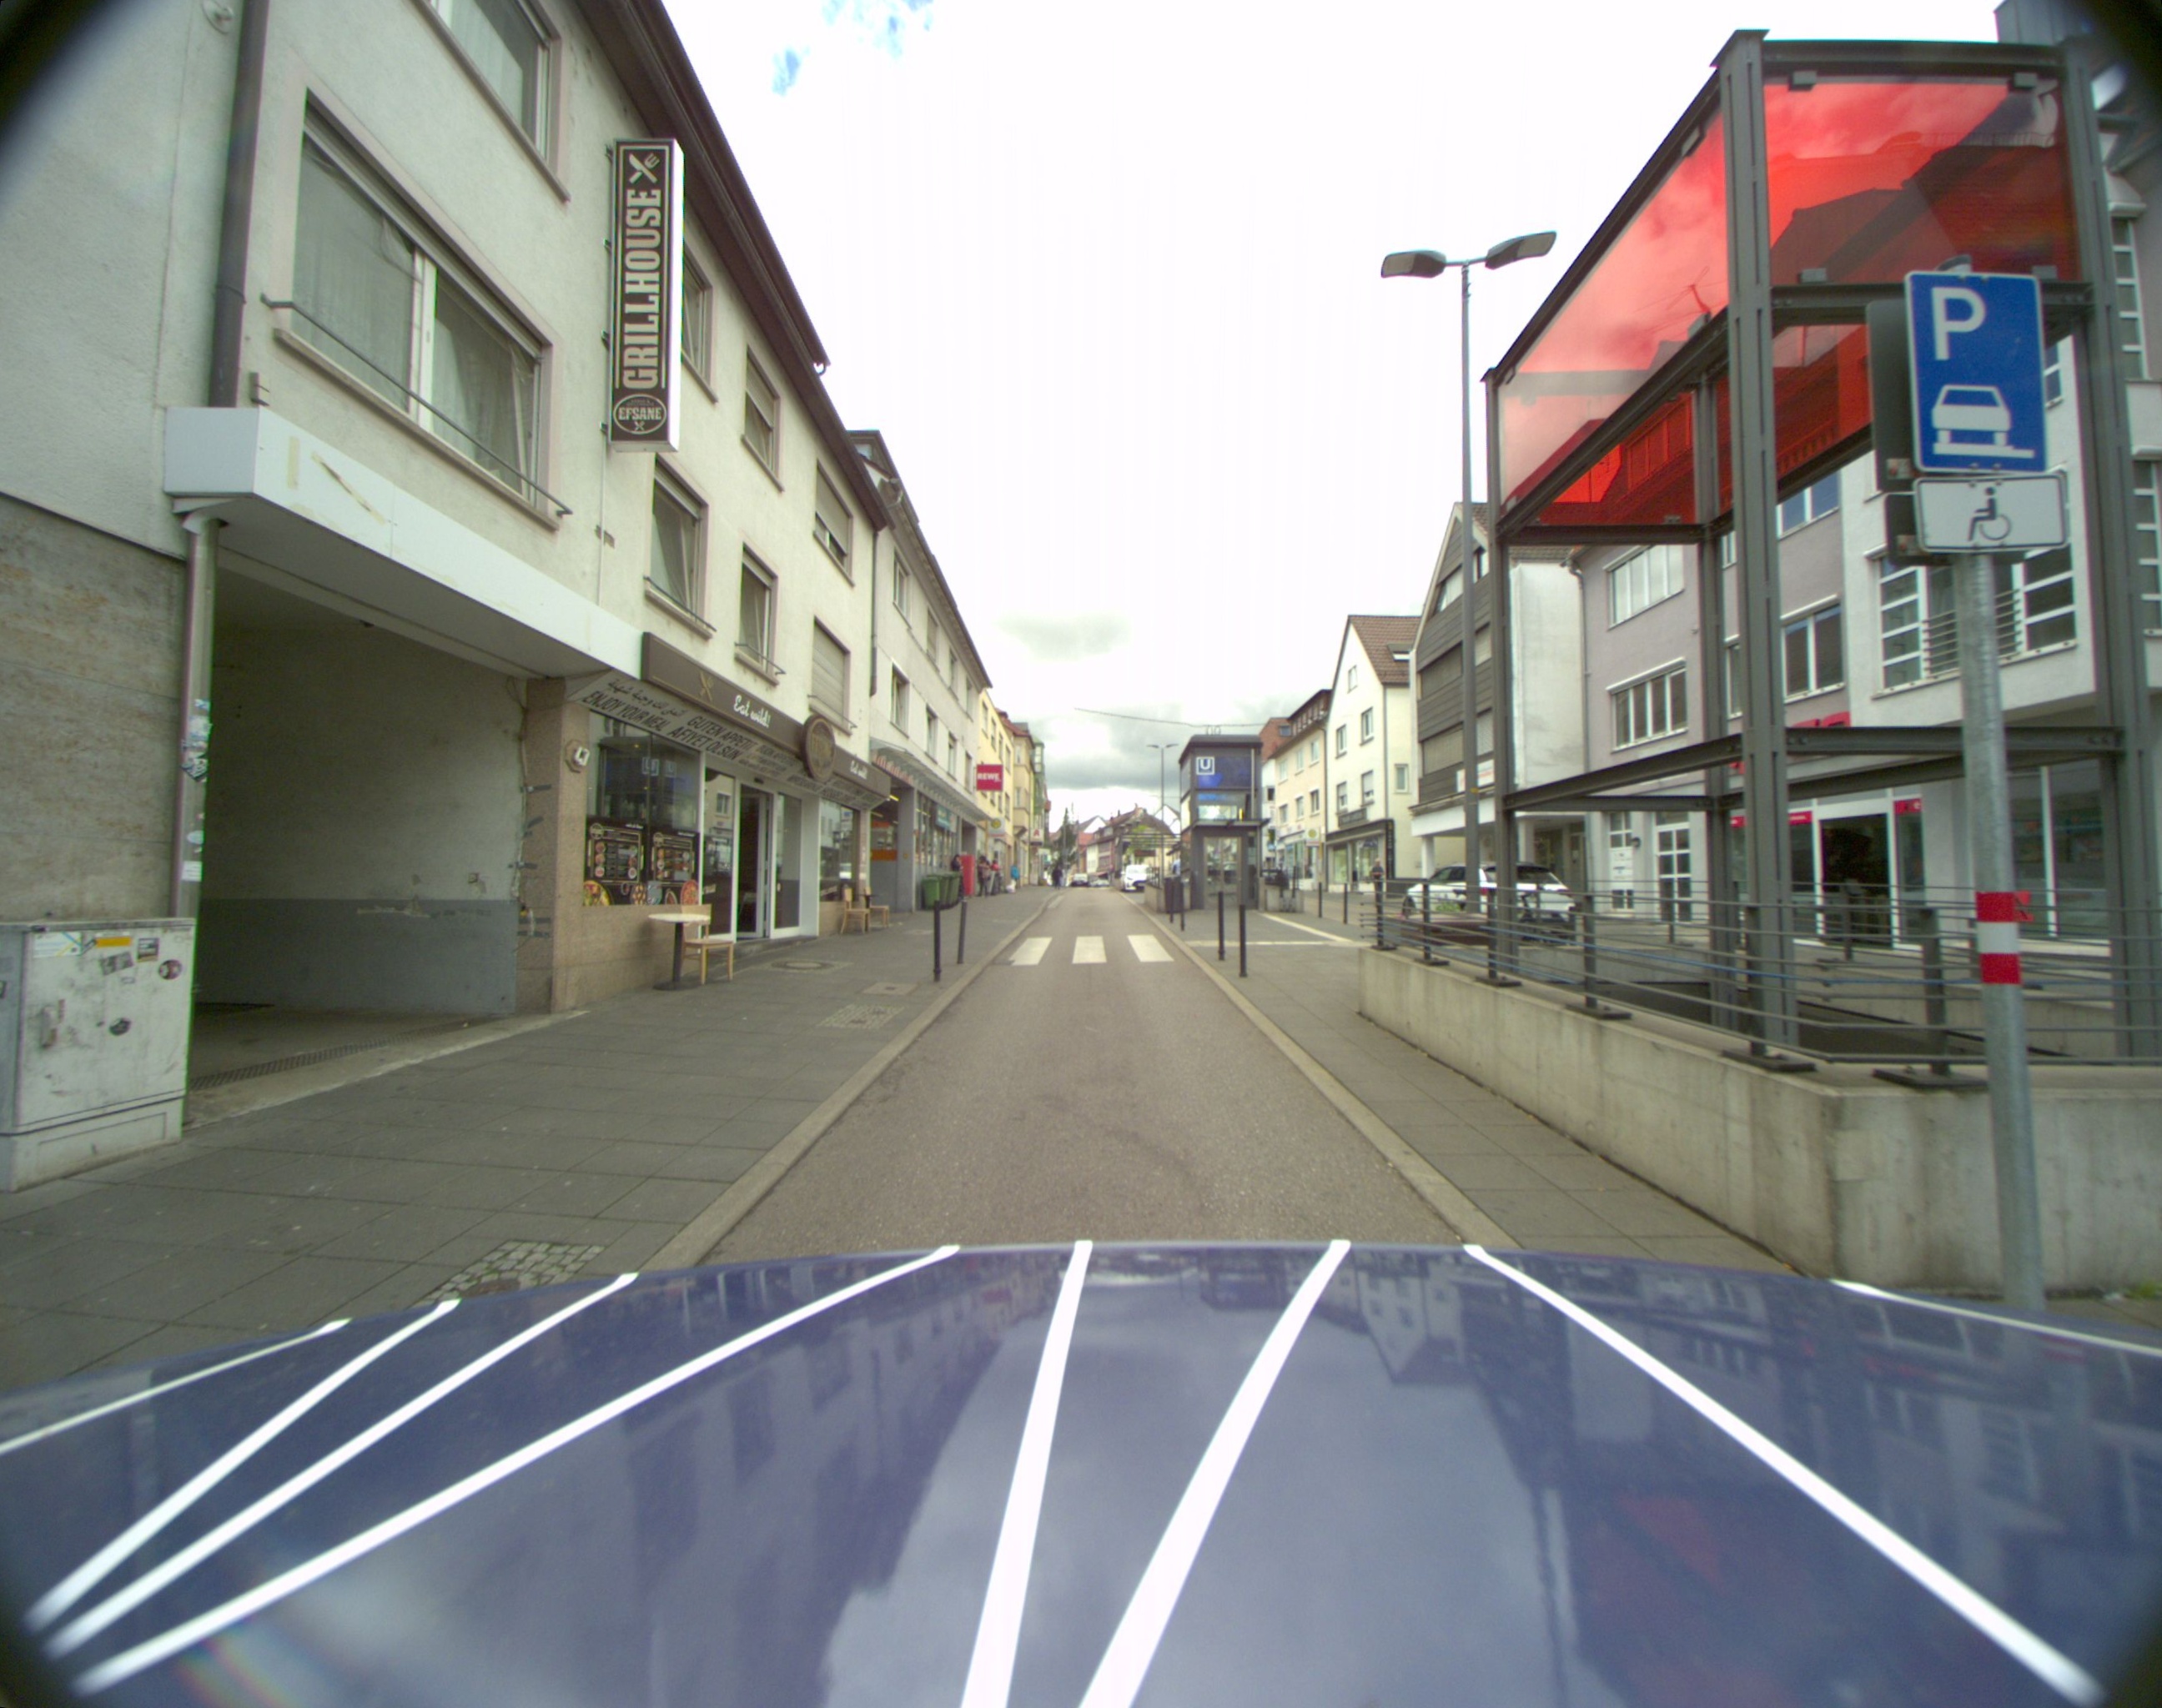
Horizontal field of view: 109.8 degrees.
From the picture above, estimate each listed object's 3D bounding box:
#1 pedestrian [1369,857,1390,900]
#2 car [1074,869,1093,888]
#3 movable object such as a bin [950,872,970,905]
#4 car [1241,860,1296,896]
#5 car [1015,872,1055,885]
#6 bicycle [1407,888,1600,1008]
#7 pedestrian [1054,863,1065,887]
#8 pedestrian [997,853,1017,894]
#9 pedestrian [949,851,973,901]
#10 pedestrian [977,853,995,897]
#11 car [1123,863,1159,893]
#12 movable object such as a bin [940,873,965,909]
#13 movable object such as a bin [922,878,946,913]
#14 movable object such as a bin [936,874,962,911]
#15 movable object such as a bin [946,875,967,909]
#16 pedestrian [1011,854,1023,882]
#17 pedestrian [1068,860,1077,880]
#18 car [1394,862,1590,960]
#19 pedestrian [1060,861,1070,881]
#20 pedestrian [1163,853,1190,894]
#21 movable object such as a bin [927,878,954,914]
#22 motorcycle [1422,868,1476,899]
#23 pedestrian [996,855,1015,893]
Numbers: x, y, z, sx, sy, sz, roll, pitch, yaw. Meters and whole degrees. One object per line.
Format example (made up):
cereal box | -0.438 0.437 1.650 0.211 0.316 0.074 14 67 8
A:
pedestrian | 11.851 0.965 30.209 0.592 1.706 0.513 -2 1 1
car | 0.237 2.353 74.287 1.741 1.608 3.843 -2 0 0
movable object such as a bin | -3.942 1.117 24.747 0.560 1.050 0.559 0 0 1
car | 9.046 1.107 36.991 1.683 1.562 4.122 -2 0 1
car | -5.680 2.995 93.172 4.627 1.570 1.776 -1 0 -12
bicycle | 4.456 0.984 8.070 1.782 1.216 0.459 0 1 0
pedestrian | -1.506 1.460 53.216 0.657 1.620 0.743 -2 1 -1
pedestrian | -3.336 0.880 34.372 0.629 1.811 0.605 -3 1 -34
pedestrian | -4.176 0.761 26.473 0.628 1.716 0.606 -2 1 -22
pedestrian | -3.797 0.846 30.501 0.627 1.716 0.607 2 1 -5
car | 3.222 1.266 41.430 1.754 1.452 3.601 -2 0 1
movable object such as a bin | -3.965 1.127 23.519 0.652 1.074 0.659 0 0 1
movable object such as a bin | -4.169 1.169 21.535 0.568 0.951 0.498 0 0 1
movable object such as a bin | -3.955 1.156 22.804 0.652 1.074 0.673 0 0 1
movable object such as a bin | -3.964 1.188 24.164 0.569 1.053 0.574 0 0 1
pedestrian | -3.709 0.812 44.184 0.627 1.620 0.607 -2 1 -5
pedestrian | -0.744 1.352 64.241 0.657 1.620 0.743 -2 1 -6
car | 7.929 1.003 15.148 1.683 1.562 4.122 -2 0 1
pedestrian | -1.323 1.412 63.230 0.657 1.620 0.743 -2 1 -6
pedestrian | 4.450 0.898 35.441 1.097 1.831 0.931 -2 1 1
movable object such as a bin | -4.096 1.212 22.123 0.670 1.024 0.560 0 0 1
motorcycle | 14.764 1.170 30.510 1.854 1.134 0.634 -2 1 0
pedestrian | -3.520 0.931 35.244 0.608 1.716 0.626 -2 1 -29
